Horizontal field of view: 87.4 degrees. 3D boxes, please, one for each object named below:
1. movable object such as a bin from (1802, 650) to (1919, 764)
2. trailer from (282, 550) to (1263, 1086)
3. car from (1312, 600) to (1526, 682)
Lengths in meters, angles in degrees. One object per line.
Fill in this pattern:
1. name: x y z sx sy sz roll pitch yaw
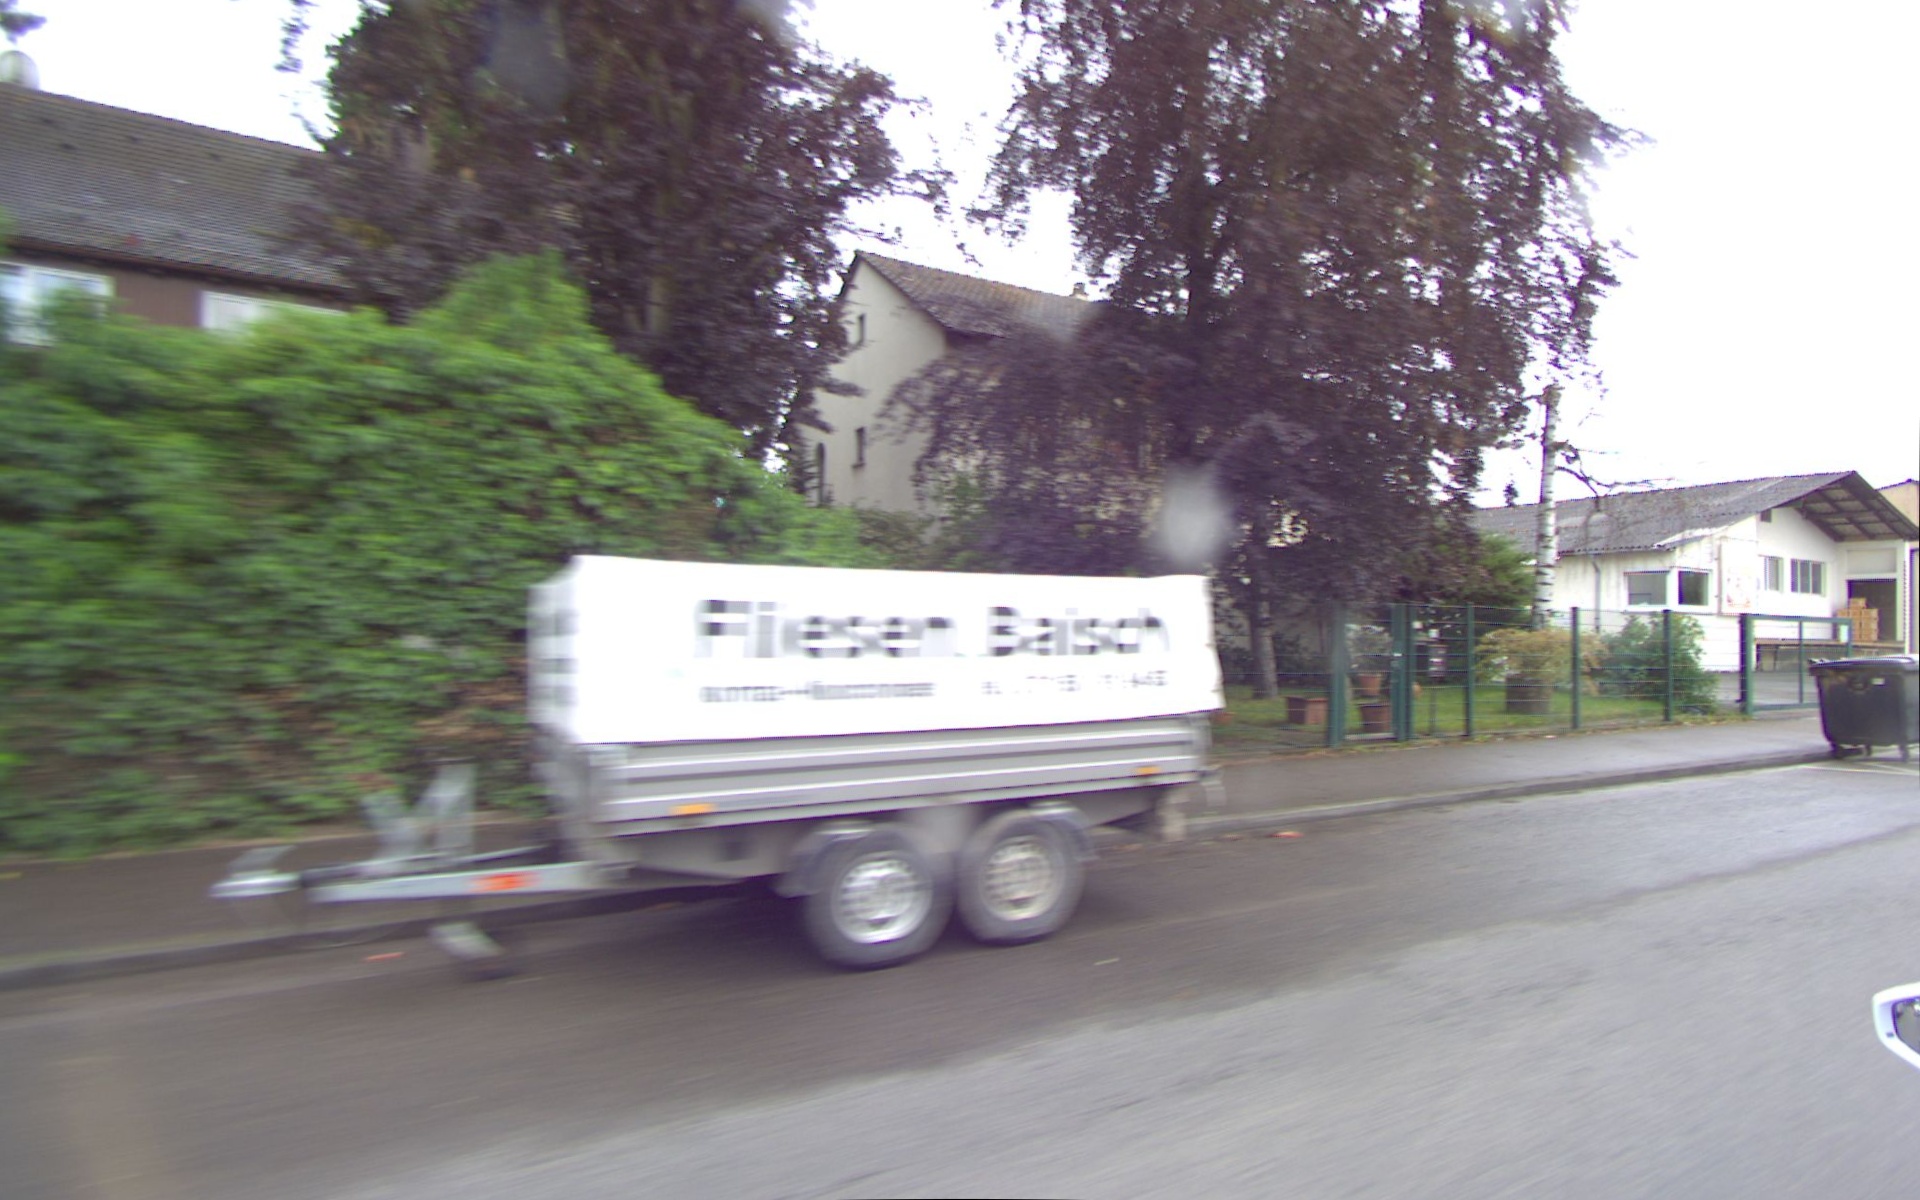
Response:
1. movable object such as a bin: 11.955 1.344 13.071 1.408 1.328 1.096 1 0 -30
2. trailer: -0.747 0.771 5.302 4.493 1.789 1.921 1 -1 -29
3. car: 11.849 0.990 26.334 1.974 1.881 4.981 1 0 -27
